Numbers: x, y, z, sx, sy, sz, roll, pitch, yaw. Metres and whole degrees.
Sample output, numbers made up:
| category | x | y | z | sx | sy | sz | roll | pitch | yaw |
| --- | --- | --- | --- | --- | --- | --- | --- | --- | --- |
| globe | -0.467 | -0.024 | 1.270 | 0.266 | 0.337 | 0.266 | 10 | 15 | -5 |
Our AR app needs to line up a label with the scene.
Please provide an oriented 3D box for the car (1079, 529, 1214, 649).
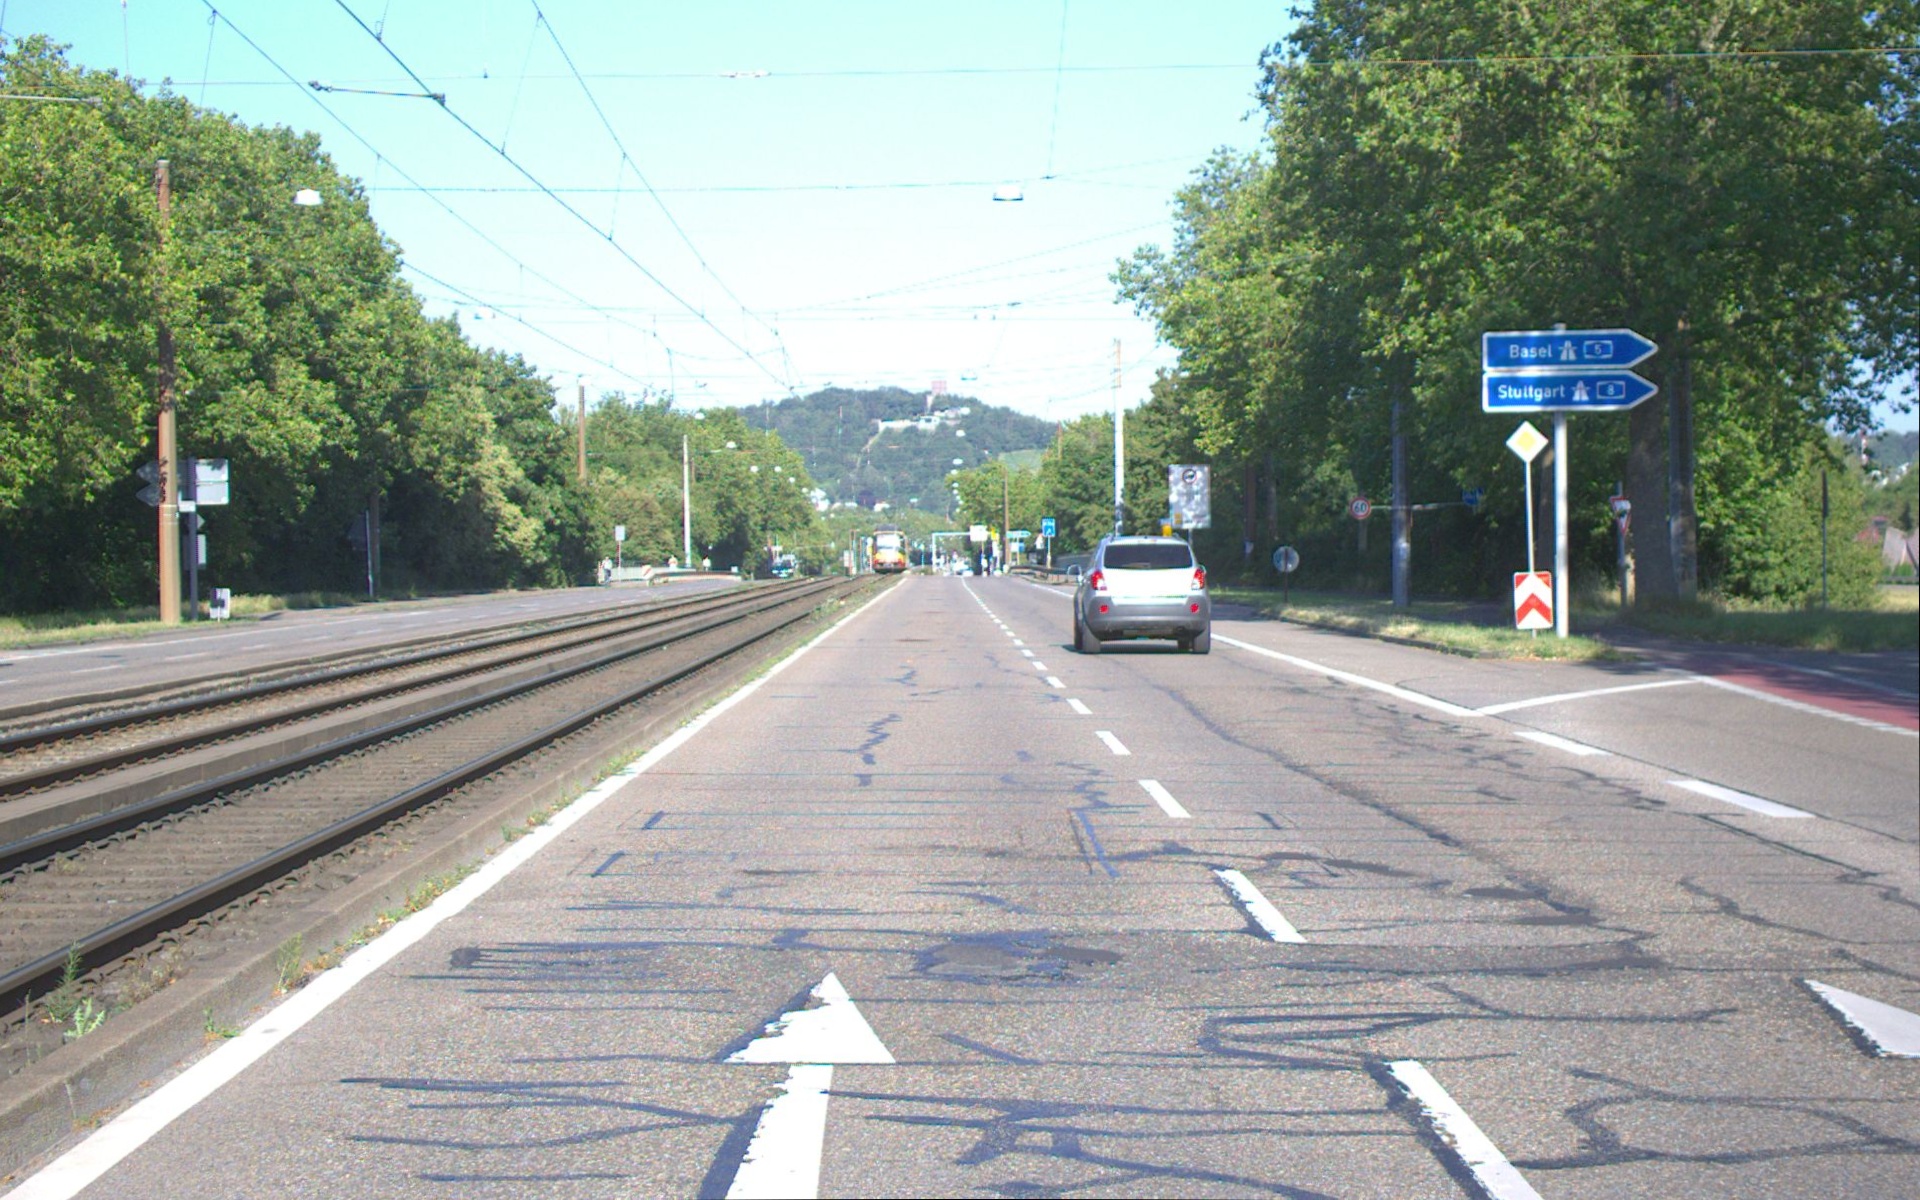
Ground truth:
| category | x | y | z | sx | sy | sz | roll | pitch | yaw |
| --- | --- | --- | --- | --- | --- | --- | --- | --- | --- |
| car | 2.699 | -0.176 | 50.489 | 1.888 | 1.688 | 4.256 | 0 | 1 | 2 |
